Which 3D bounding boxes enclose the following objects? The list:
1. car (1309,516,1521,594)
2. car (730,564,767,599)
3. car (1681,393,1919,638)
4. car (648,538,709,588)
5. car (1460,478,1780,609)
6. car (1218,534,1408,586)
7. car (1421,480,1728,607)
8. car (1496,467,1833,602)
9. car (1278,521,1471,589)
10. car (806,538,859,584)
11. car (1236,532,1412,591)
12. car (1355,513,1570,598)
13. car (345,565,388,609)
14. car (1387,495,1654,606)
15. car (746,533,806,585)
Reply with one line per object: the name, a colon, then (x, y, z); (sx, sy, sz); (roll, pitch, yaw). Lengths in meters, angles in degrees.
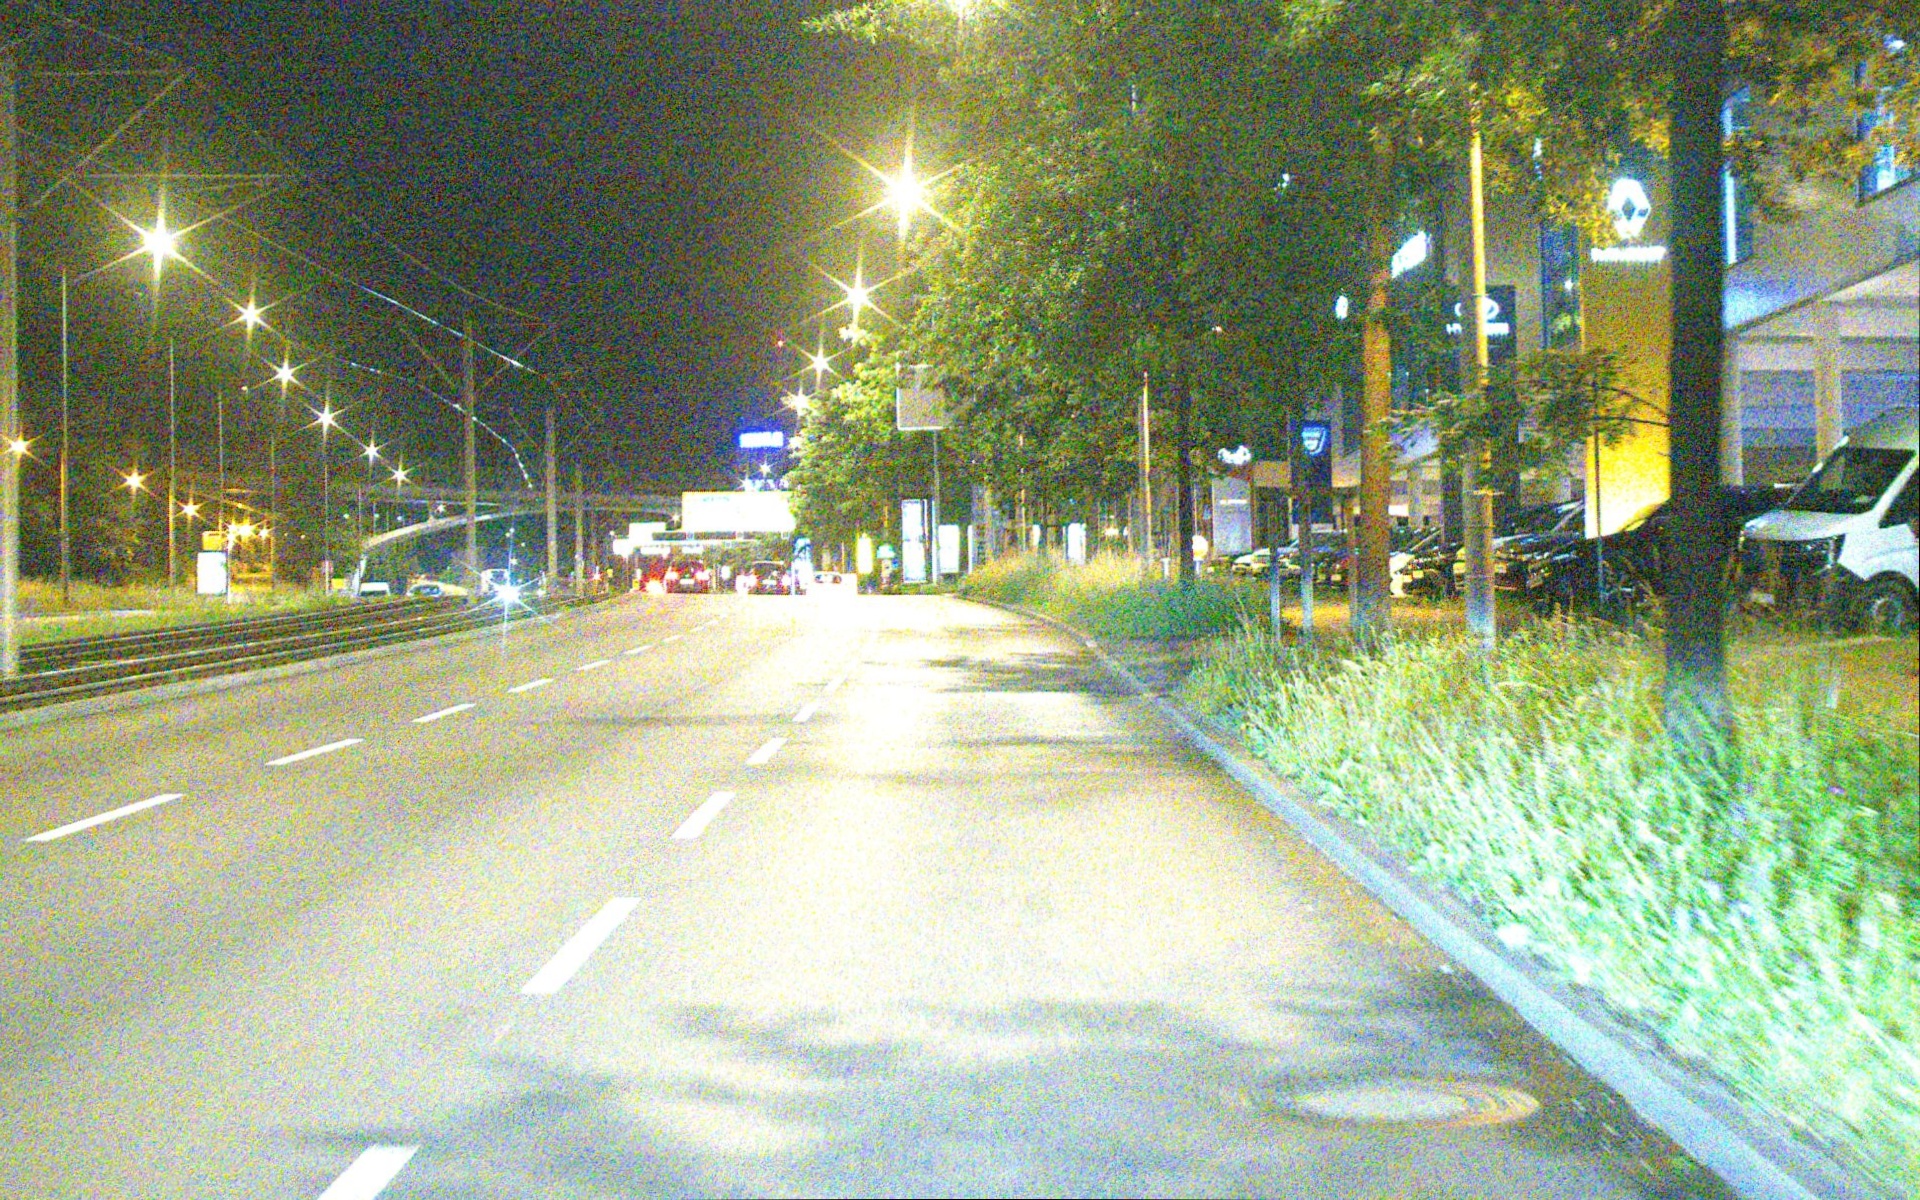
car: (9.744, -0.962, 73.664); (4.022, 1.369, 1.826); (-5, 1, -17)
car: (-11.401, -1.015, 185.459); (1.887, 1.853, 4.000); (0, 0, -2)
car: (11.580, -1.148, 39.281); (6.015, 2.520, 2.284); (-6, 2, -18)
car: (-11.542, -1.513, 141.222); (2.262, 2.007, 4.826); (0, 0, -2)
car: (10.392, -0.895, 54.239); (4.459, 1.804, 2.001); (-3, 1, -12)
car: (9.241, -1.061, 89.969); (4.628, 1.260, 1.948); (-1, 2, -26)
car: (10.141, -0.939, 56.903); (4.459, 1.681, 2.001); (-5, 2, -12)
car: (10.031, -0.932, 49.066); (4.201, 1.657, 1.962); (-4, 1, -12)
car: (9.536, -1.045, 79.105); (3.986, 1.387, 1.827); (-3, 2, -23)
car: (-5.896, -1.784, 159.491); (2.427, 2.106, 4.826); (0, 0, -2)
car: (9.230, -0.994, 87.245); (3.986, 1.419, 1.910); (-1, 2, -19)
car: (10.001, -0.892, 68.495); (3.801, 1.448, 1.718); (-4, 1, -15)
car: (-38.944, -0.832, 225.440); (2.145, 2.662, 6.964); (-3, 0, -14)
car: (9.728, -0.866, 59.782); (4.079, 1.563, 1.855); (-5, 2, -12)
car: (-7.586, -1.679, 142.042); (2.356, 2.122, 4.826); (0, 0, -2)
